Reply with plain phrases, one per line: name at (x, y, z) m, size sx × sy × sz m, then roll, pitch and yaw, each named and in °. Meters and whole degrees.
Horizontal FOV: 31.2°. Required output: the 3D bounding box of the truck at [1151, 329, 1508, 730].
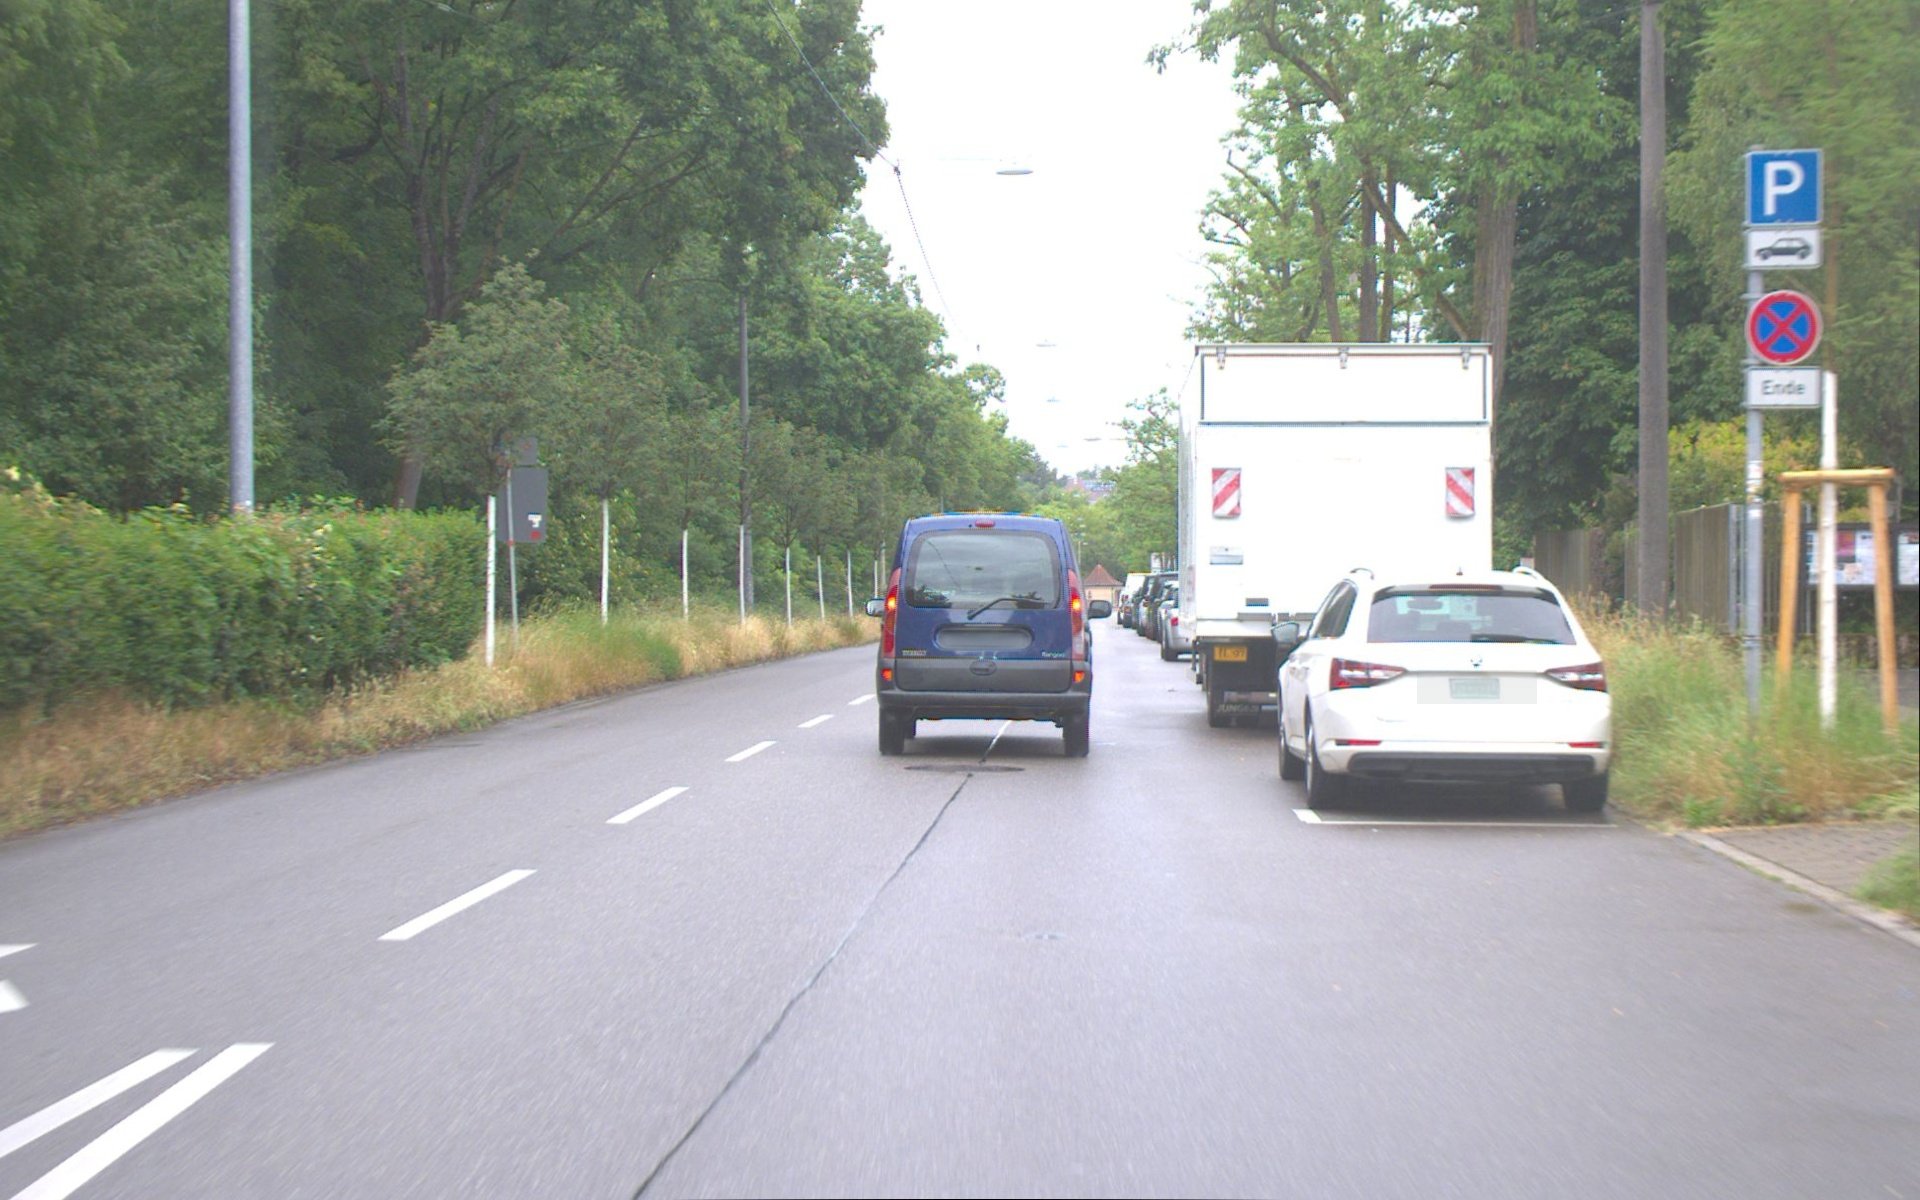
truck at (3.335, -0.659, 32.649) m, size 2.731 × 3.375 × 6.685 m, roll -1°, pitch 1°, yaw 1°

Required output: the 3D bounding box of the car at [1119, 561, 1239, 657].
car at (3.841, 0.128, 60.855) m, size 1.994 × 1.579 × 4.000 m, roll -1°, pitch 1°, yaw 2°

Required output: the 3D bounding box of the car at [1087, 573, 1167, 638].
car at (4.299, 0.121, 88.649) m, size 1.994 × 1.579 × 4.000 m, roll -1°, pitch 1°, yaw 2°

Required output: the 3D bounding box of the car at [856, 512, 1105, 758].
car at (0.203, 0.224, 27.254) m, size 1.809 × 1.791 × 4.000 m, roll -1°, pitch 1°, yaw 2°

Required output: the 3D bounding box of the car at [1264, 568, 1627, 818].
car at (2.978, 0.514, 21.905) m, size 1.813 × 1.376 × 4.285 m, roll -1°, pitch 1°, yaw 2°

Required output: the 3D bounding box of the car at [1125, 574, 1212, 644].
car at (5.005, 0.205, 82.951) m, size 1.994 × 1.579 × 4.000 m, roll -1°, pitch 1°, yaw 2°

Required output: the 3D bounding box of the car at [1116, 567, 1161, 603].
car at (8.336, -0.716, 160.828) m, size 1.994 × 1.579 × 4.000 m, roll -1°, pitch 1°, yaw 2°

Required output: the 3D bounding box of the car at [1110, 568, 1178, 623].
car at (5.566, -0.156, 104.602) m, size 1.994 × 1.579 × 4.000 m, roll -1°, pitch 1°, yaw 2°
